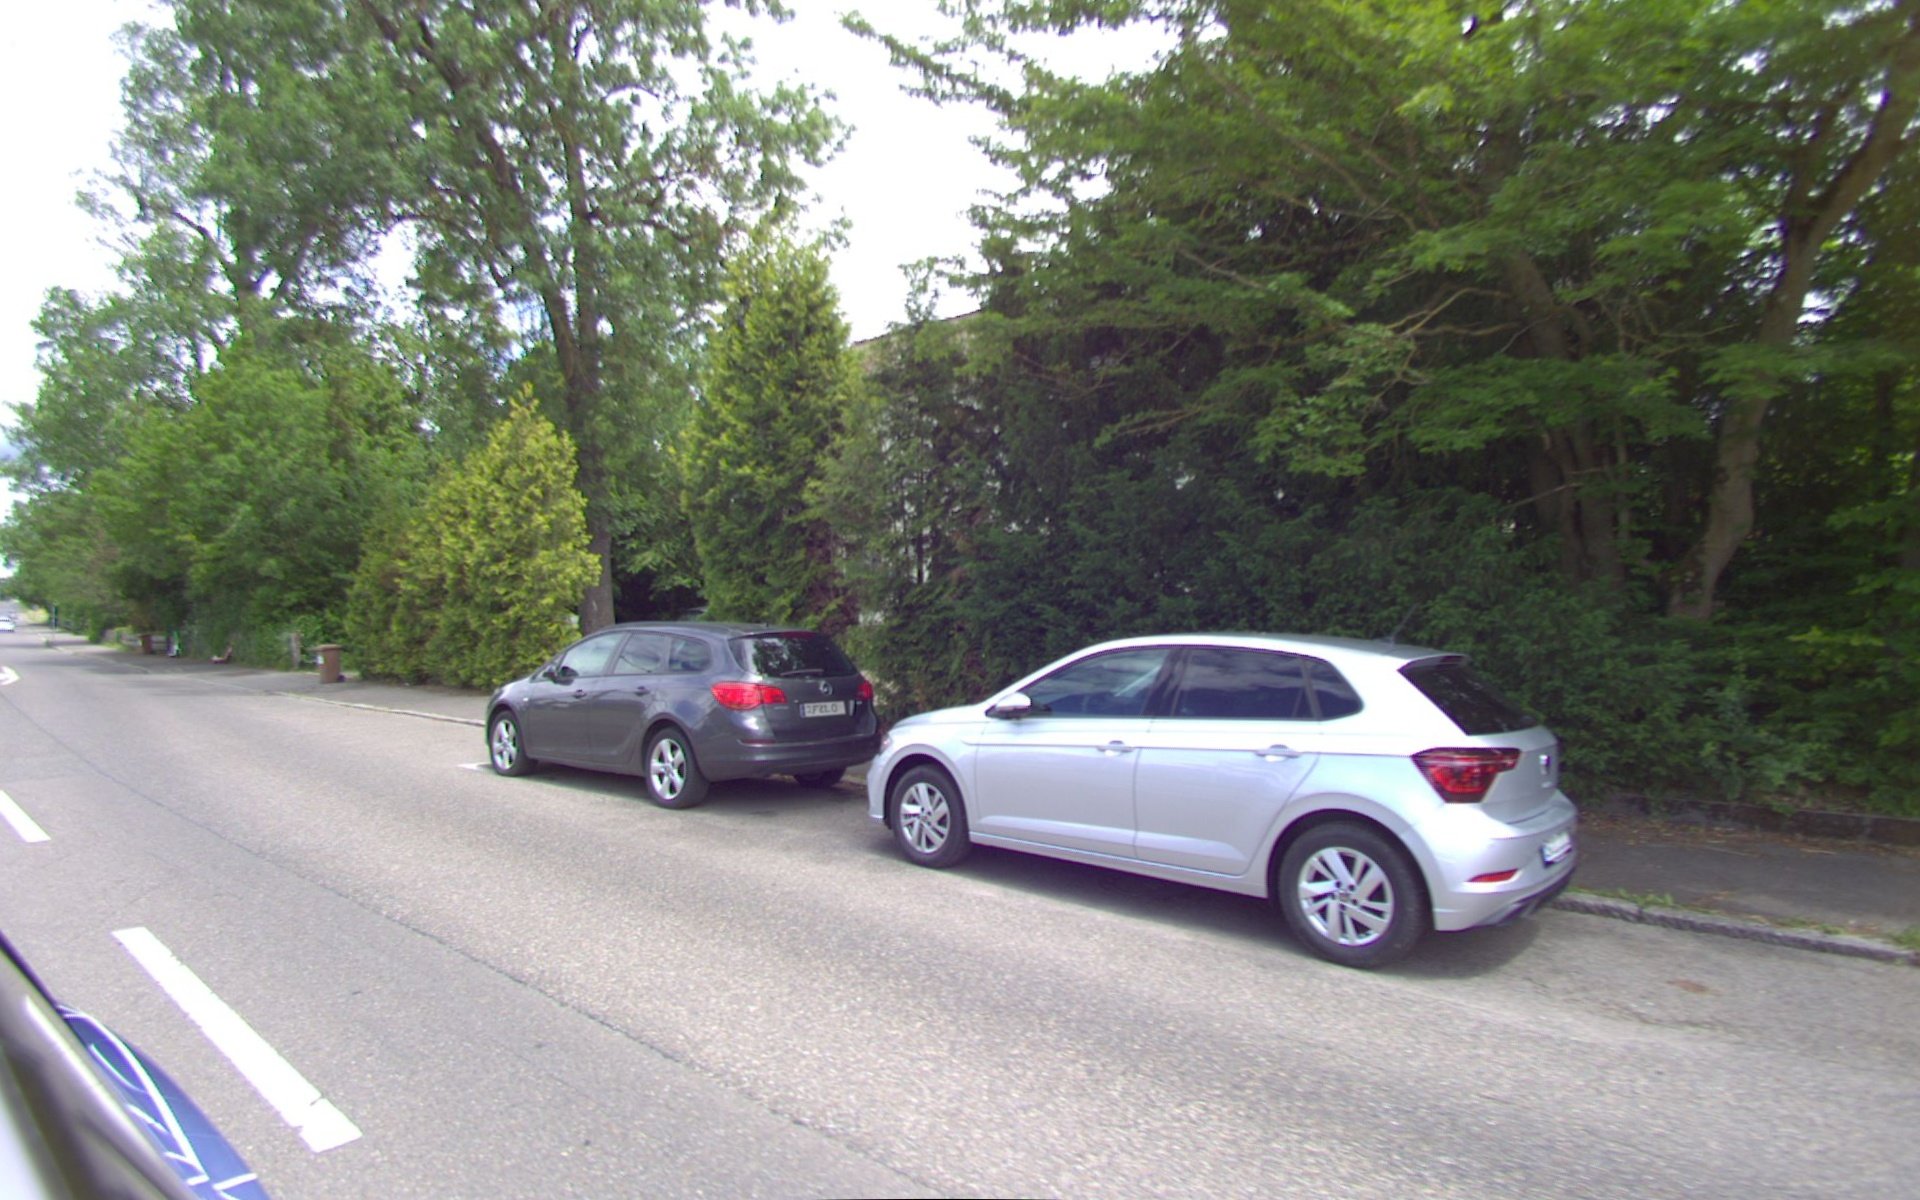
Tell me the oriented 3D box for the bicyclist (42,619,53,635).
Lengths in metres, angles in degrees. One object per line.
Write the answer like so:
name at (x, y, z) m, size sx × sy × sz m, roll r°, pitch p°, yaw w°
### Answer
bicyclist at (-91.872, 2.743, 101.922) m, size 0.769 × 1.561 × 0.870 m, roll 1°, pitch -2°, yaw -44°

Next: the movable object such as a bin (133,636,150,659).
movable object such as a bin at (-35.289, 2.055, 43.610) m, size 0.507 × 0.952 × 0.569 m, roll -1°, pitch 0°, yaw -44°

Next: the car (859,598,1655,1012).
car at (1.398, 0.820, 5.712) m, size 3.962 × 1.516 × 1.718 m, roll -2°, pitch -3°, yaw 42°

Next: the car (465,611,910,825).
car at (-2.679, 0.906, 9.318) m, size 4.474 × 1.516 × 1.719 m, roll -1°, pitch -3°, yaw 40°

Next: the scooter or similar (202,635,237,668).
scooter or similar at (-25.119, 1.743, 34.340) m, size 1.208 × 1.089 × 0.474 m, roll -1°, pitch 0°, yaw 28°

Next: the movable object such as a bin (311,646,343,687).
movable object such as a bin at (-15.294, 1.594, 24.446) m, size 0.428 × 0.937 × 0.459 m, roll -1°, pitch 2°, yaw 29°

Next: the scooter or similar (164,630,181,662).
scooter or similar at (-31.135, 1.812, 39.995) m, size 0.403 × 1.208 × 1.641 m, roll 1°, pitch -1°, yaw -42°

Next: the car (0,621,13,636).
car at (-97.268, 2.903, 102.699) m, size 1.673 × 1.441 × 3.791 m, roll 3°, pitch -3°, yaw -43°

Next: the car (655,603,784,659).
car at (-7.835, 0.979, 33.217) m, size 1.881 × 1.697 × 3.832 m, roll -1°, pitch -1°, yaw 37°

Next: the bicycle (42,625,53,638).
bicycle at (-91.746, 3.181, 101.776) m, size 0.746 × 1.236 × 2.310 m, roll 3°, pitch -3°, yaw -43°
